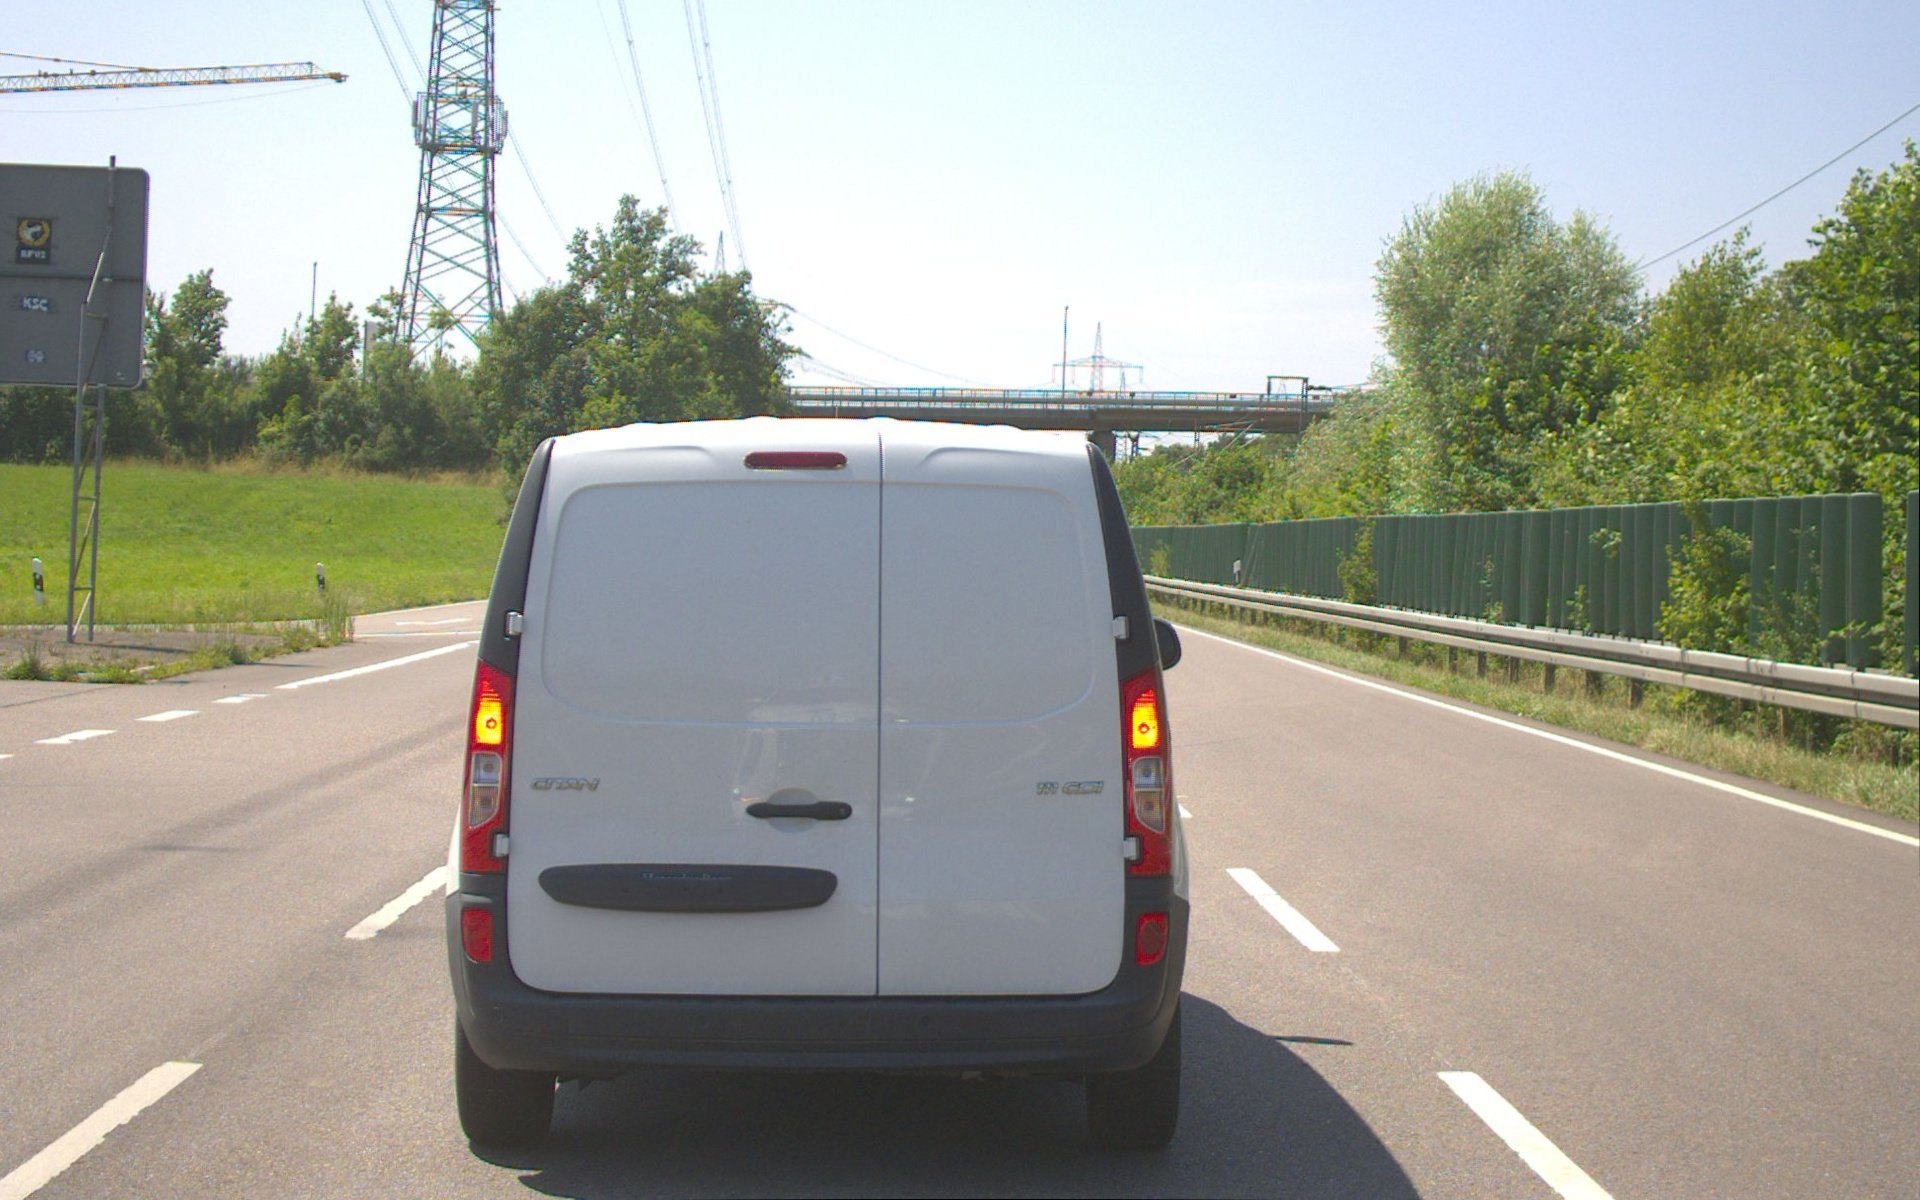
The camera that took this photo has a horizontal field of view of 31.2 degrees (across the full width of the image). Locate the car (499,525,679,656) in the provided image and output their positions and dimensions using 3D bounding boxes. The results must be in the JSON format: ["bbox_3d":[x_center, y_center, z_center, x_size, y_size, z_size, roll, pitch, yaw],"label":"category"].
[{"bbox_3d":[-4.453,-0.147,41.705,1.782,1.459,4.000,2,1,-1],"label":"car"}]

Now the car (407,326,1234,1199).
[{"bbox_3d":[-0.353,0.342,9.690,1.827,1.964,4.000,1,1,-1],"label":"car"}]

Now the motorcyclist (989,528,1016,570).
[{"bbox_3d":[1.511,-1.820,121.927,0.889,1.471,1.002,1,1,-1],"label":"motorcyclist"}]

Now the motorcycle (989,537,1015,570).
[{"bbox_3d":[1.485,-1.653,122.022,0.790,1.153,1.901,1,1,-2],"label":"motorcycle"}]
